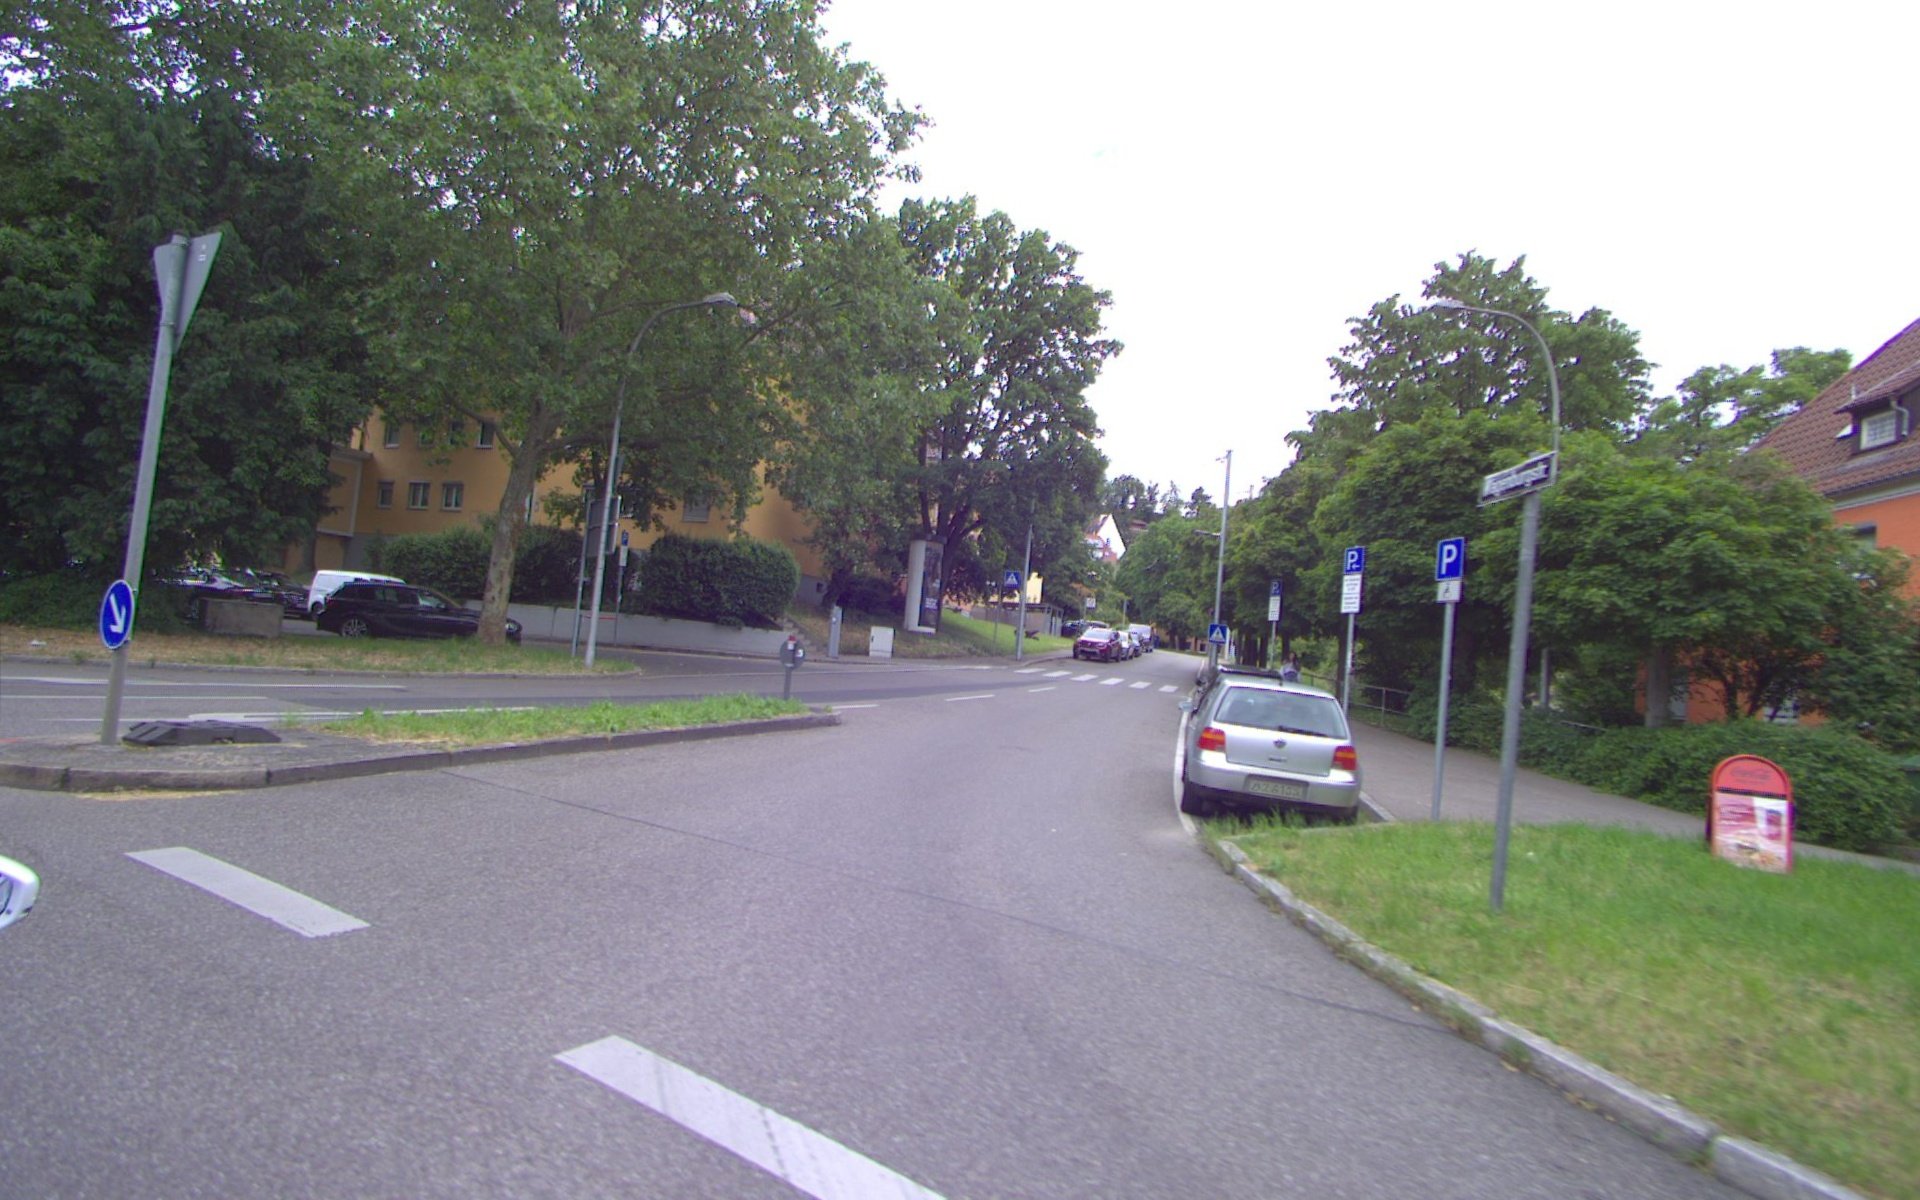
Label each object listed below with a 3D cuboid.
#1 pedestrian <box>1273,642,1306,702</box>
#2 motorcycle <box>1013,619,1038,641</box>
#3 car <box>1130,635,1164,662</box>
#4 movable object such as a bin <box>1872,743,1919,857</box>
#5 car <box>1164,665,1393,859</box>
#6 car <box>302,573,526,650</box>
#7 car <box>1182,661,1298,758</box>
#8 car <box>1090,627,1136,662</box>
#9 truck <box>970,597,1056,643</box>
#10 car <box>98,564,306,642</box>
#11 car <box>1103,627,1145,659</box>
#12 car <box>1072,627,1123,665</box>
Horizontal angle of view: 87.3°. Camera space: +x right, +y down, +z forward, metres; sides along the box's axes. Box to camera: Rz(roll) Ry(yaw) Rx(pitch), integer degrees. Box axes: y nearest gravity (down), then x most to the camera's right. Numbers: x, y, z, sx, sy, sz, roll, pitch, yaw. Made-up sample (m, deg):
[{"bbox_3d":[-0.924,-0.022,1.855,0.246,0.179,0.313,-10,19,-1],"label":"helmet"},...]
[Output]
[{"bbox_3d":[8.869,1.933,27.113,0.664,1.563,0.494,3,-1,4],"label":"pedestrian"},{"bbox_3d":[3.871,1.753,59.100,1.339,1.151,0.620,6,0,5],"label":"motorcycle"},{"bbox_3d":[13.239,3.420,70.924,1.912,1.604,4.005,6,-2,15],"label":"car"},{"bbox_3d":[13.678,2.812,13.818,1.219,1.468,1.083,5,-1,2],"label":"movable object such as a bin"},{"bbox_3d":[3.354,1.619,11.390,1.827,1.445,4.134,8,-1,11],"label":"car"},{"bbox_3d":[-12.619,0.270,23.596,4.361,1.505,1.854,3,1,-22],"label":"car"},{"bbox_3d":[5.302,2.021,19.489,1.704,1.445,4.134,5,-1,11],"label":"car"},{"bbox_3d":[8.342,2.451,54.651,1.912,1.604,4.005,6,-2,15],"label":"car"},{"bbox_3d":[3.958,1.497,75.845,5.890,2.765,2.000,6,-1,24],"label":"truck"},{"bbox_3d":[-20.652,0.085,27.445,4.812,1.596,2.002,5,-2,17],"label":"car"},{"bbox_3d":[9.759,2.575,59.696,1.912,1.604,4.005,6,-2,15],"label":"car"},{"bbox_3d":[6.881,2.320,49.957,1.912,1.604,4.005,6,-2,15],"label":"car"}]
